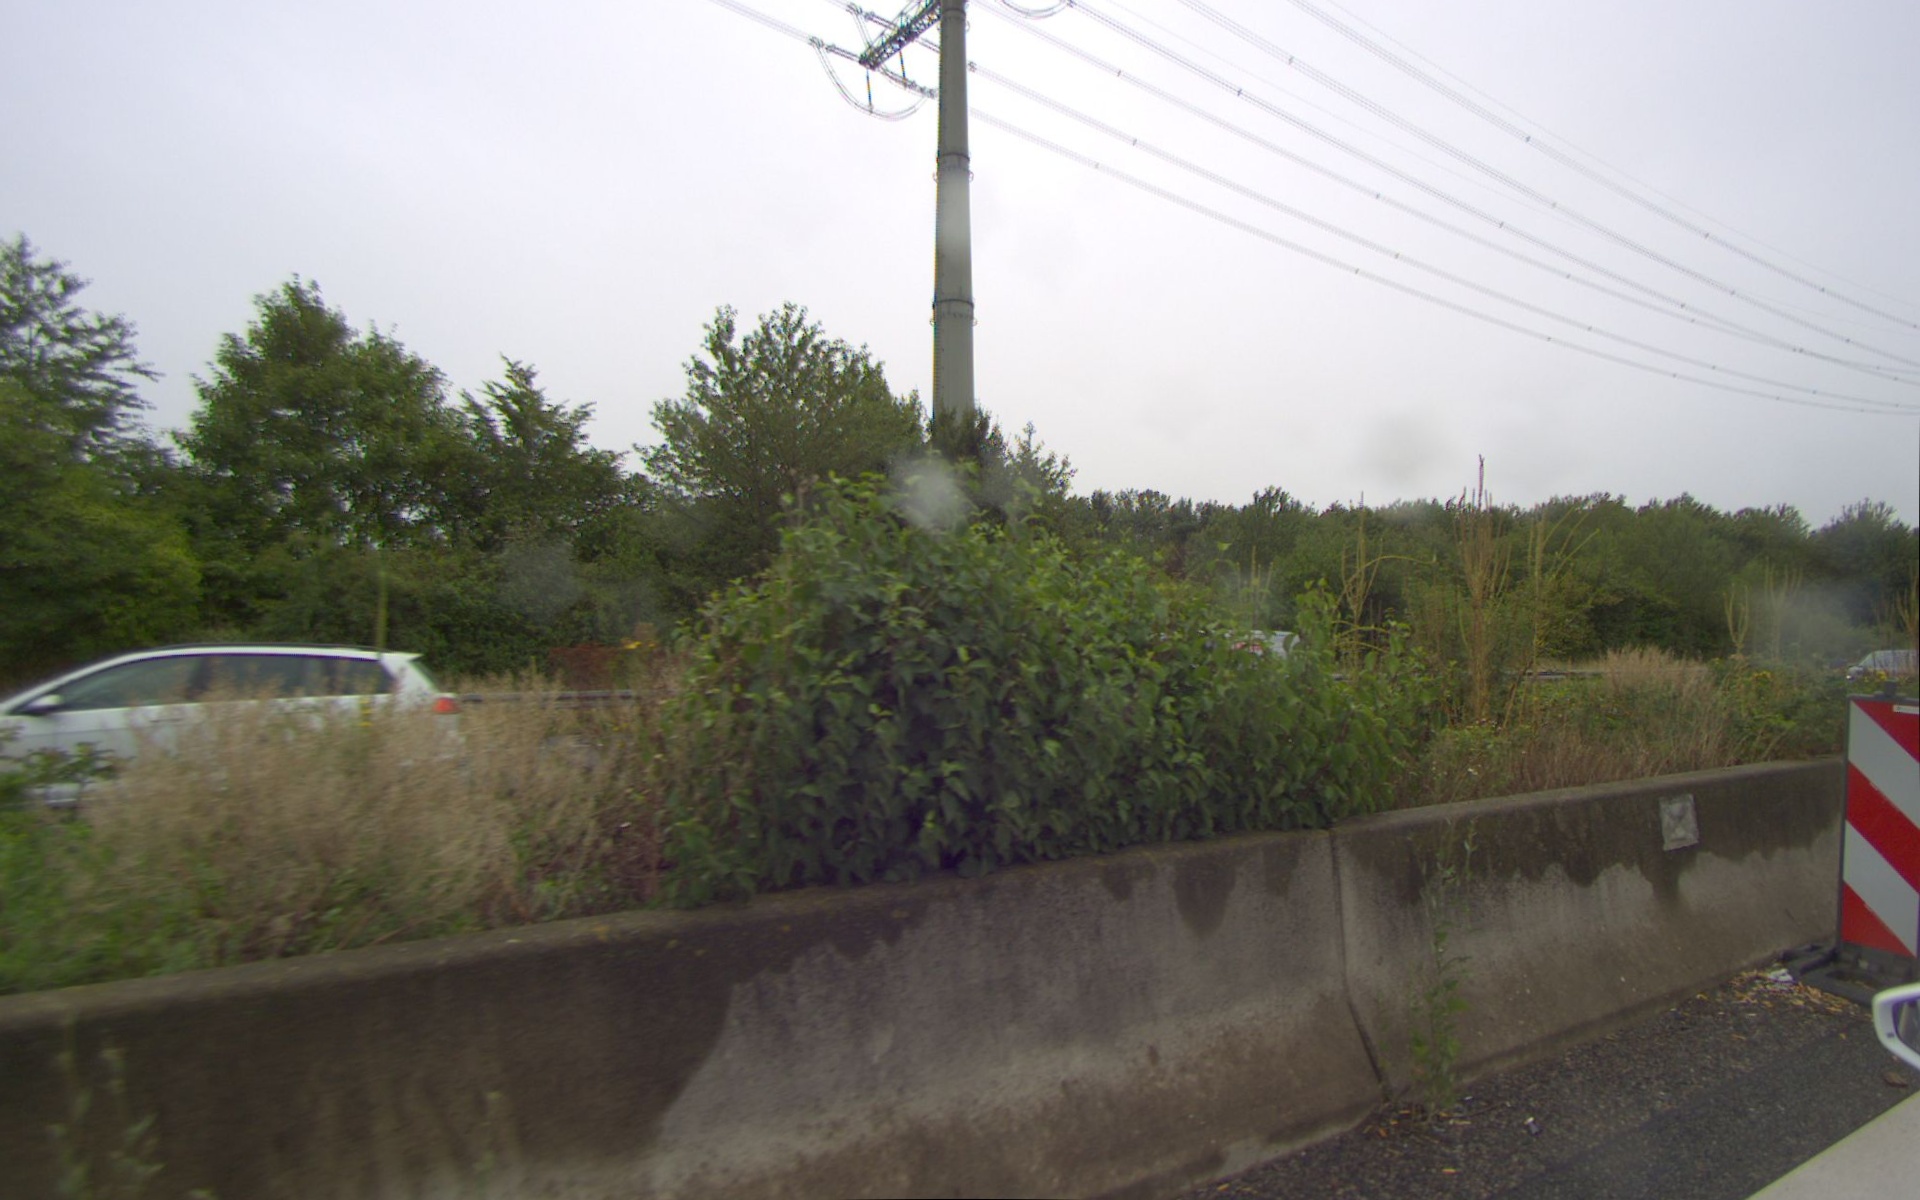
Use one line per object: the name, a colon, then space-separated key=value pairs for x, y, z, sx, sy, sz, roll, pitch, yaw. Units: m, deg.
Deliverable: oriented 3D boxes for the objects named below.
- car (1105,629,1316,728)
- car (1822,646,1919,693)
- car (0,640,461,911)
car: x=5.151 y=1.552 z=20.484 sx=4.219 sy=1.848 sz=1.693 roll=2 pitch=-3 yaw=-31
car: x=26.814 y=1.981 z=28.967 sx=4.112 sy=1.201 sz=1.724 roll=2 pitch=-1 yaw=-30
car: x=-6.735 y=1.382 z=8.796 sx=4.112 sy=1.959 sz=1.724 roll=2 pitch=-1 yaw=-30
